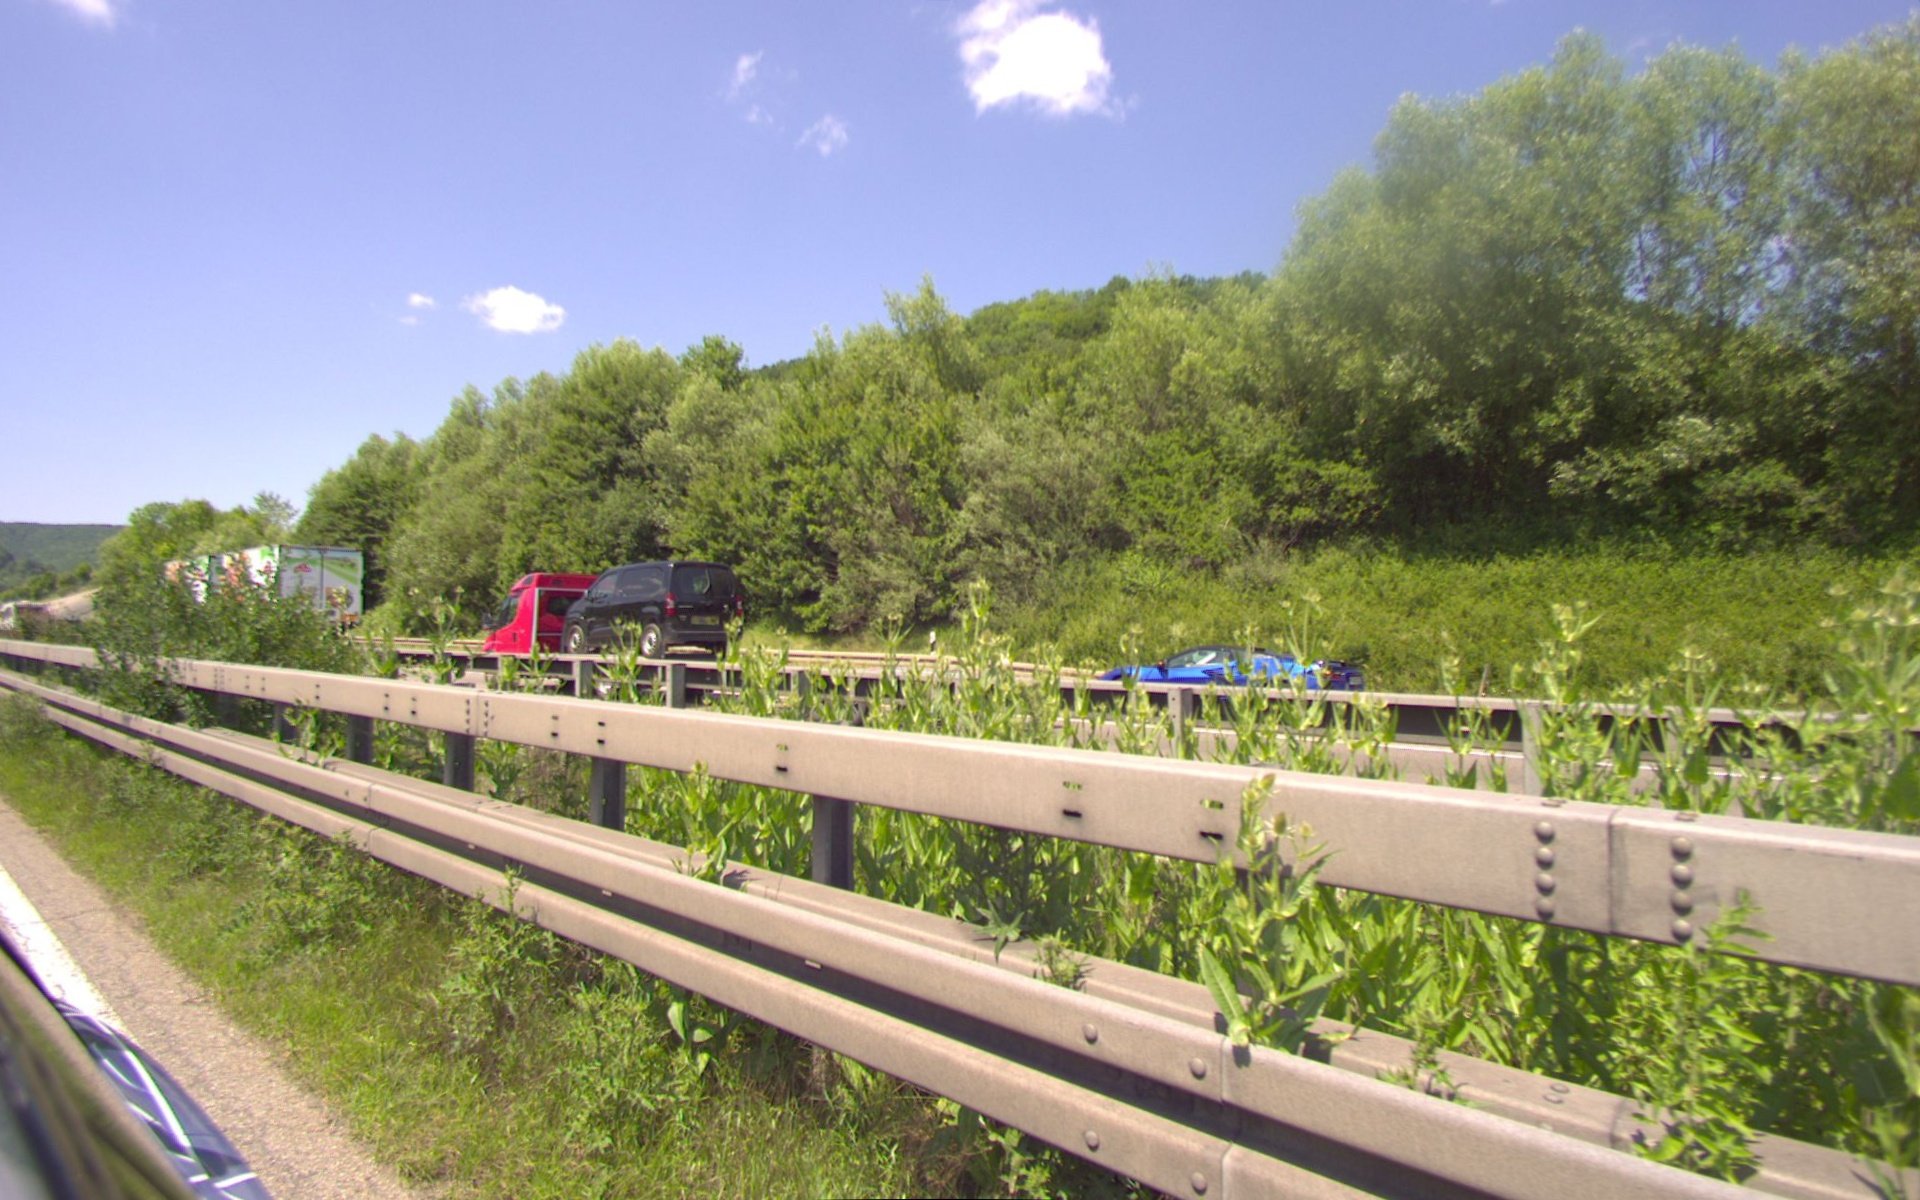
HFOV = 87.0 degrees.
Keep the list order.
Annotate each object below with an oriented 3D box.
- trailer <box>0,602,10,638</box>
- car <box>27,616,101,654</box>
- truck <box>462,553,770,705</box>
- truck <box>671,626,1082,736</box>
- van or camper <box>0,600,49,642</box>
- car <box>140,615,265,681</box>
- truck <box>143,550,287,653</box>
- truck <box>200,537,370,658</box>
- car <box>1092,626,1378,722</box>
[{"bbox_3d":[-112.963,2.382,117.329,14.153,4.030,2.753,-1,-2,42],"label":"trailer"},{"bbox_3d":[-41.603,1.580,46.936,5.029,1.653,1.973,-1,-1,41],"label":"car"},{"bbox_3d":[-7.372,0.599,20.944,7.962,2.608,2.272,-1,-3,41],"label":"truck"},{"bbox_3d":[-1.615,1.114,15.958,7.005,1.344,2.186,-1,-1,41],"label":"truck"},{"bbox_3d":[-78.402,1.753,84.448,7.643,3.361,2.563,-1,-2,41],"label":"van or camper"},{"bbox_3d":[-19.910,1.212,26.557,3.997,1.611,1.759,-1,-2,40],"label":"car"},{"bbox_3d":[-32.428,0.141,43.837,10.164,4.037,2.840,-1,-1,41],"label":"truck"},{"bbox_3d":[-25.186,0.039,37.529,9.026,4.011,2.839,-1,-3,41],"label":"truck"},{"bbox_3d":[4.448,1.169,16.640,4.103,1.366,1.974,-1,-5,39],"label":"car"}]
